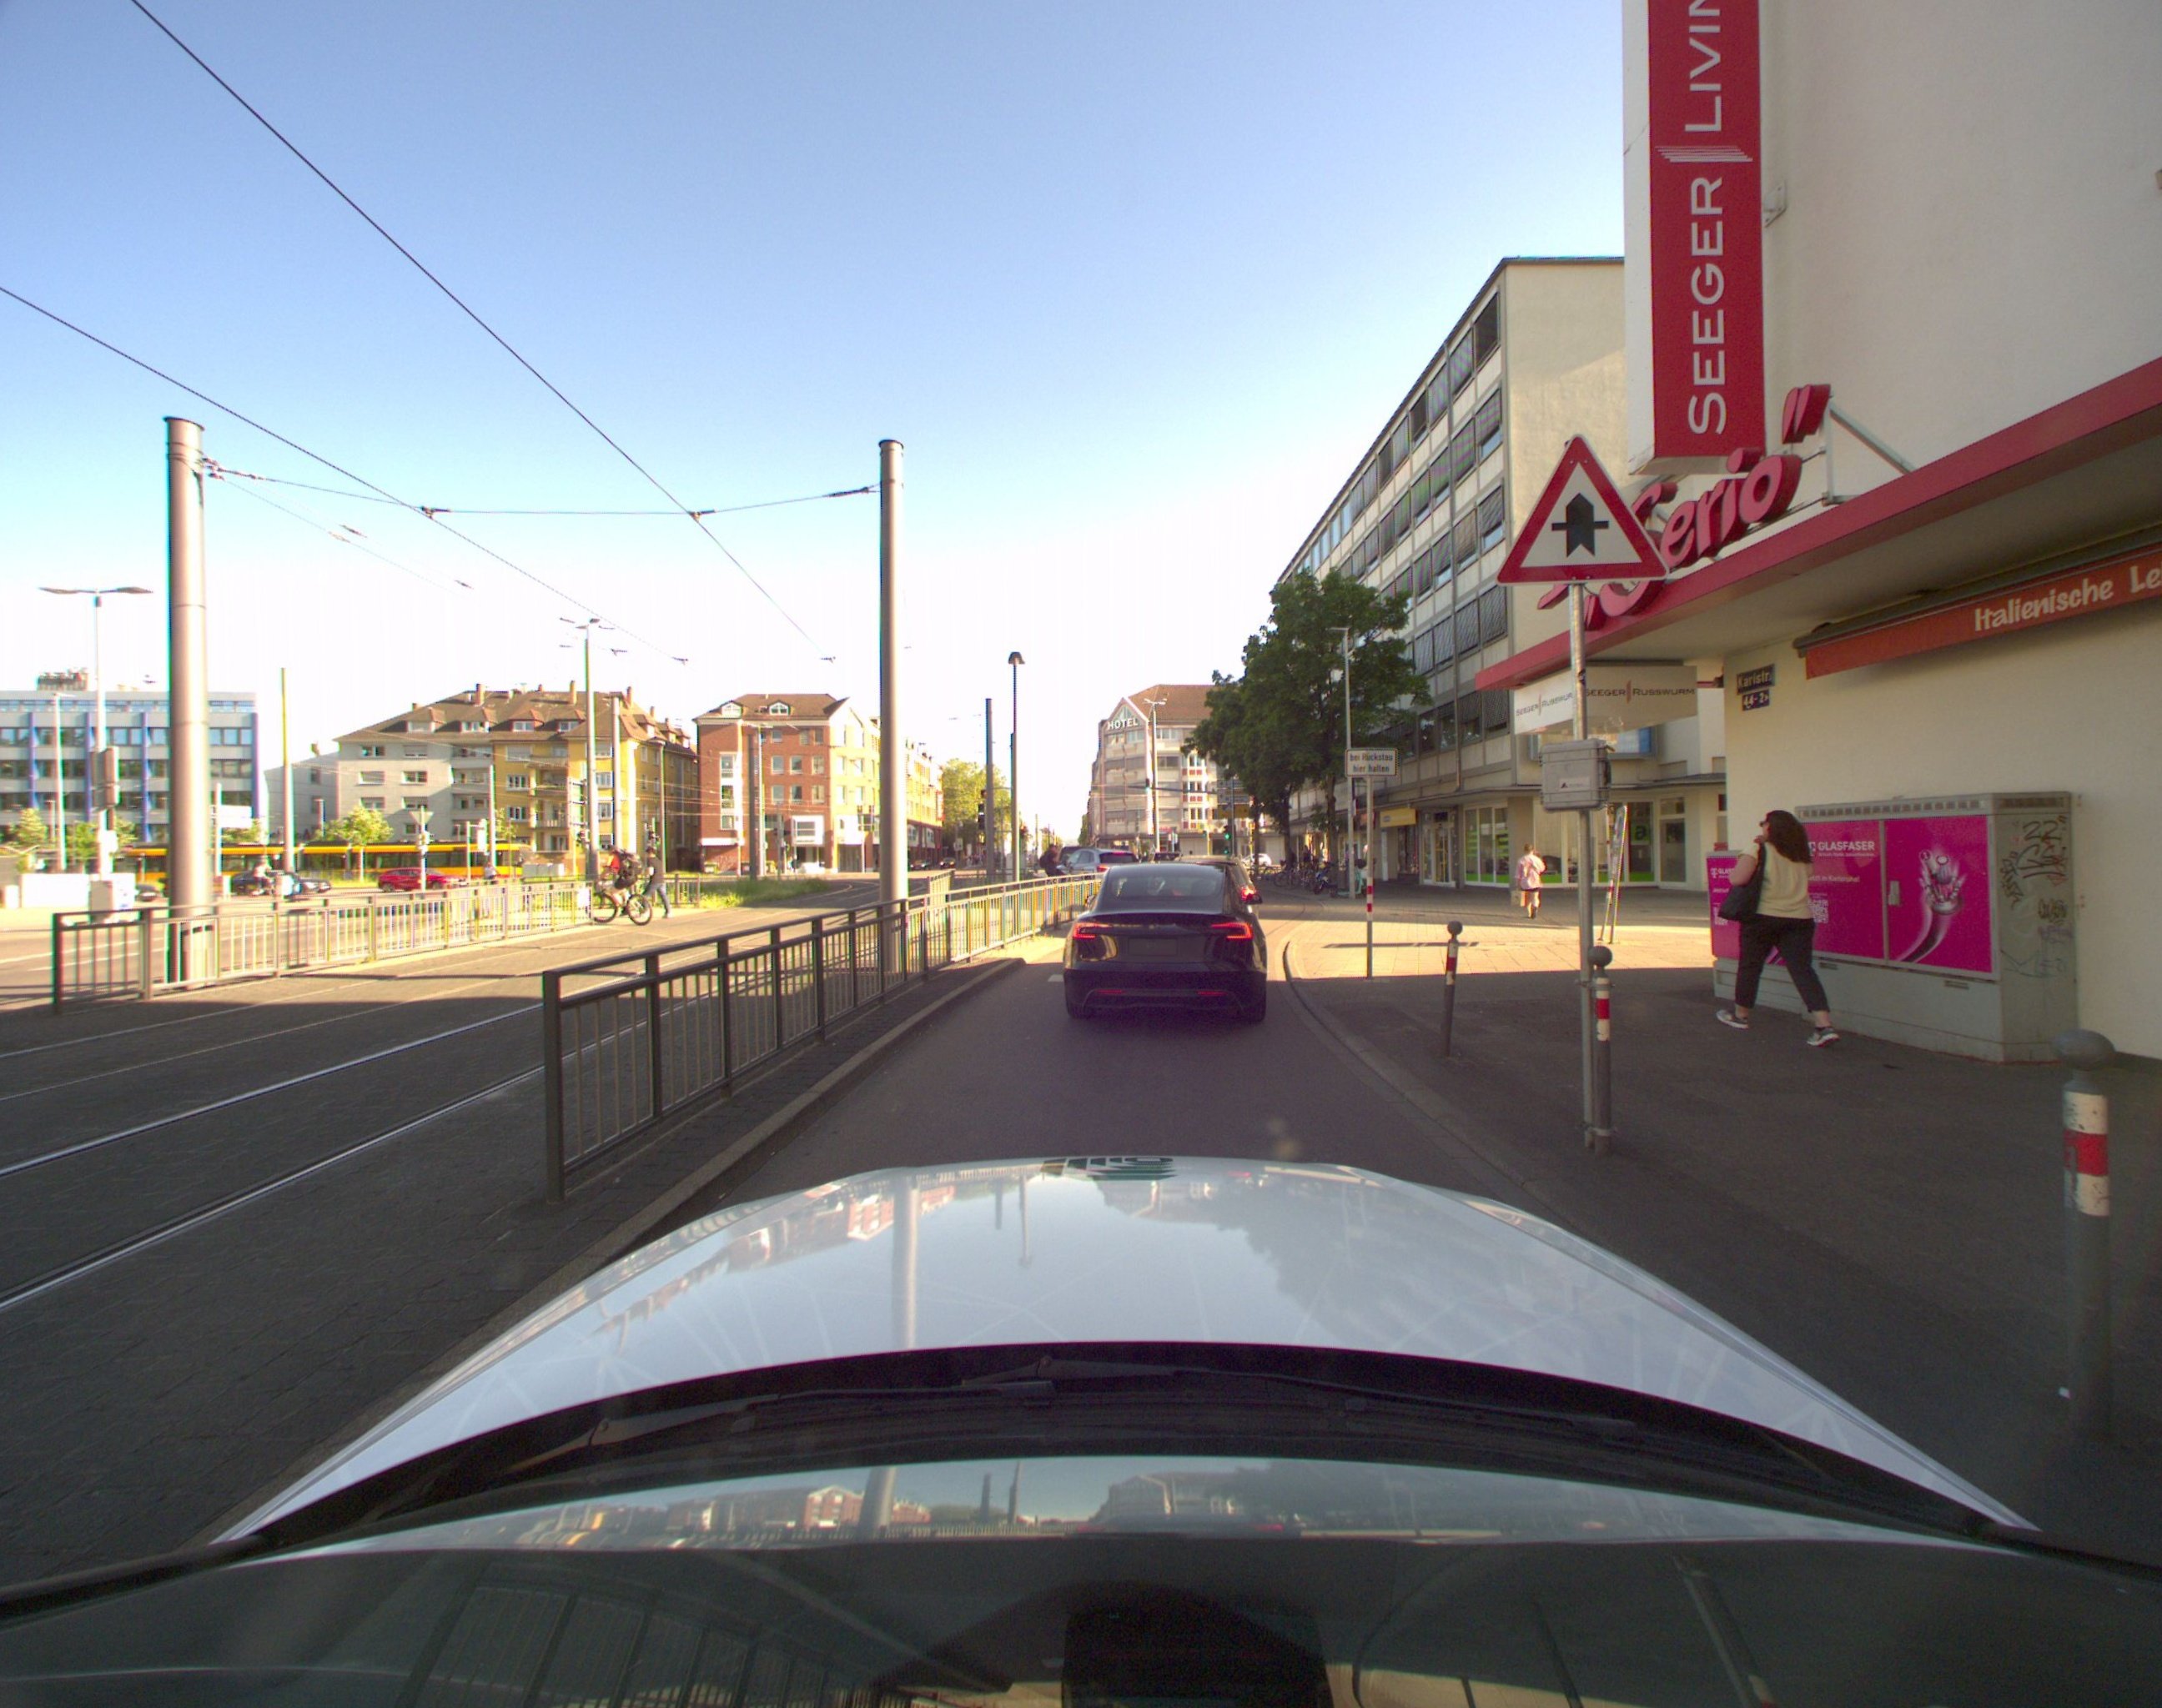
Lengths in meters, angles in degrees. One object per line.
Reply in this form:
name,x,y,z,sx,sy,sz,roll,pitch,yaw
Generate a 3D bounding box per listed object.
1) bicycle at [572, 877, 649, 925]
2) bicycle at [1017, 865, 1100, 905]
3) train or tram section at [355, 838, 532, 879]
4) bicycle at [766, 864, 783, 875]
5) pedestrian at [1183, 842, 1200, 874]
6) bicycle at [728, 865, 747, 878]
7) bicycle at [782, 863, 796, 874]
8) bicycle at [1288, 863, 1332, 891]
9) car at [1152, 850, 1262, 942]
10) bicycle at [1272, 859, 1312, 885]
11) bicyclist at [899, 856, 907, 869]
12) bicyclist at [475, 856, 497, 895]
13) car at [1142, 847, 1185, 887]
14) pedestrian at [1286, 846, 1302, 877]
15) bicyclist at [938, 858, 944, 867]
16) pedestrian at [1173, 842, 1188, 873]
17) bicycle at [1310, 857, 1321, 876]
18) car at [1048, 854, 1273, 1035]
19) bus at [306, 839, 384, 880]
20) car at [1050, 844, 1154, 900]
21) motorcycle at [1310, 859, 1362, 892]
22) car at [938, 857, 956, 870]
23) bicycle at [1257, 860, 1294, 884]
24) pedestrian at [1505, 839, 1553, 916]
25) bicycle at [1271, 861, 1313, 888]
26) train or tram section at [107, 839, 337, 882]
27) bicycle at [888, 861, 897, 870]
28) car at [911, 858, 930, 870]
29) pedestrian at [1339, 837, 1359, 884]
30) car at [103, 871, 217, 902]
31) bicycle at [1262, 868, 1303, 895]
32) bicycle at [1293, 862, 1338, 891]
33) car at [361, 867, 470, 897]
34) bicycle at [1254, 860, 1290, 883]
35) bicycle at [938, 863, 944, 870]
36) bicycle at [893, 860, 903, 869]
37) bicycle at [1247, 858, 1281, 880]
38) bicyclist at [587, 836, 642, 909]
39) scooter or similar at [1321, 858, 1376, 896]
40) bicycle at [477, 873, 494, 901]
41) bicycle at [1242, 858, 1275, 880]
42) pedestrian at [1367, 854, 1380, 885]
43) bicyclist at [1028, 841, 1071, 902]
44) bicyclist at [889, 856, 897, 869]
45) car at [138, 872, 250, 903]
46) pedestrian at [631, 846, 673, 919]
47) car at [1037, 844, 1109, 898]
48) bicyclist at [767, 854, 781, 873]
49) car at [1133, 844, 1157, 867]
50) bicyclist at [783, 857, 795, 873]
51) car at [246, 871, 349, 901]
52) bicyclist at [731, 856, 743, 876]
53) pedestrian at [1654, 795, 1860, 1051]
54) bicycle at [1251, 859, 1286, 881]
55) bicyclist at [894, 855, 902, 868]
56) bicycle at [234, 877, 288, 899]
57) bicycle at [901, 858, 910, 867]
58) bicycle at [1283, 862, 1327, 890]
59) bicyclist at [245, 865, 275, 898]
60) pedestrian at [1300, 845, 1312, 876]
bicycle,-9.996,0.992,17.303,1.585,0.994,0.405,-1,-1,14
bicycle,-0.597,0.838,22.582,2.346,1.053,0.624,0,-1,-36
train or tram section,-50.336,0.352,64.585,11.217,3.131,2.799,0,-1,-7
bicycle,-25.803,1.296,68.565,0.522,0.972,2.247,0,-1,2
pedestrian,6.937,0.239,51.226,0.917,2.014,0.973,0,-1,1
bicycle,-25.994,1.329,61.663,0.445,0.972,2.247,0,-1,2
bicycle,-26.845,1.359,74.936,0.402,0.981,1.699,-1,-1,10
bicycle,8.818,0.887,31.366,1.649,1.061,0.349,0,-1,-9
car,2.307,0.668,15.043,1.741,1.454,4.009,-1,0,8
bicycle,9.119,0.784,35.262,1.643,1.099,0.350,0,-1,3
bicyclist,-22.562,1.061,103.317,0.780,1.563,0.747,-1,0,3
bicyclist,-27.066,0.975,37.047,0.761,1.759,0.745,0,-1,-32
car,3.809,0.606,38.223,1.593,1.778,3.979,0,-1,-1
pedestrian,11.684,0.412,44.650,0.697,1.662,0.777,0,-1,1
bicyclist,-23.149,1.384,135.033,0.780,1.563,0.747,0,-1,3
pedestrian,6.648,0.234,54.398,0.917,2.014,0.973,0,-1,1
bicycle,12.816,0.688,44.535,0.330,1.034,1.258,0,-1,6
car,0.876,0.749,8.633,1.820,1.455,4.007,0,-1,7
bus,-57.633,0.401,63.831,3.511,3.131,2.766,0,-1,-5
car,0.589,0.555,26.674,1.891,1.662,4.126,0,-1,-23
motorcycle,9.146,0.767,29.235,1.701,1.173,0.541,0,-1,0
car,-17.526,1.241,106.722,1.692,1.731,3.706,0,-1,0
bicycle,9.141,0.835,38.216,1.643,1.099,0.350,0,-1,3
pedestrian,10.082,0.519,18.348,0.881,1.667,0.813,-1,-1,25
bicycle,8.618,0.845,33.324,1.649,1.099,0.349,0,-1,-9
train or tram section,-66.146,0.459,62.984,13.654,3.131,2.728,0,-1,-6
bicycle,-22.771,1.340,98.402,0.535,1.088,2.226,0,-1,2
car,-20.368,1.271,103.469,1.706,1.527,4.032,0,-1,-3
pedestrian,11.588,0.289,35.238,0.659,2.014,0.580,0,-1,4
car,-48.773,1.713,43.199,3.850,1.526,1.641,0,-1,-8
bicycle,8.458,1.164,34.241,1.649,1.099,0.349,0,-1,-9
bicycle,8.896,0.858,30.942,1.649,1.099,0.349,0,-1,-9
car,-39.455,1.655,48.378,4.585,1.700,1.993,0,-1,-10
bicycle,9.206,0.840,39.242,1.643,1.099,0.350,0,-1,3
bicycle,-23.175,2.033,134.819,0.527,1.088,2.227,0,-1,4
bicycle,-22.752,1.352,101.156,0.527,1.089,2.285,3,-2,4
bicycle,9.264,0.759,41.302,1.643,1.099,0.350,-1,0,3
bicyclist,-9.907,0.400,17.284,1.032,1.521,0.393,-1,-1,15
scooter or similar,8.899,0.762,27.103,1.625,1.215,0.649,-1,-1,32
bicycle,-27.006,1.484,36.950,0.487,1.222,1.836,0,-1,-32
bicycle,9.246,0.789,42.397,1.643,1.099,0.350,0,-1,3
pedestrian,12.505,0.660,34.847,0.388,1.343,0.513,0,-1,4
bicyclist,-0.867,0.478,22.376,0.763,1.628,0.967,0,-1,-37
bicyclist,-22.780,1.079,98.844,0.780,1.563,0.747,0,-1,4
car,-50.622,1.880,46.565,3.952,1.685,1.903,0,-1,-11
pedestrian,-10.118,0.667,19.216,0.589,1.681,0.774,0,-1,-2
car,-0.398,0.667,32.766,1.997,2.014,3.980,-1,0,-15
bicyclist,-25.814,0.799,68.540,0.895,1.503,0.696,0,-1,1
car,5.014,0.149,63.846,1.713,1.751,3.755,0,-1,2
bicyclist,-26.871,1.011,74.953,0.699,1.471,0.975,-1,0,9
car,-45.492,1.840,47.383,3.984,1.672,1.772,0,-1,-8
bicyclist,-26.005,0.918,61.612,0.631,1.503,0.696,0,-1,1
pedestrian,5.087,0.479,6.228,0.906,1.752,1.044,-1,0,22
bicycle,9.282,0.796,40.255,1.643,1.099,0.350,0,-1,3
bicyclist,-22.748,0.959,101.218,0.780,1.563,0.747,-1,0,3
bicycle,-45.603,1.891,45.297,2.188,1.214,0.544,0,-1,-11
bicycle,-22.433,1.050,103.998,0.527,1.088,2.286,-1,-1,4
bicycle,8.732,0.858,31.792,1.649,1.099,0.349,0,-1,-9
bicyclist,-45.650,1.498,45.289,0.901,1.808,0.788,0,-1,-11
pedestrian,12.412,0.339,44.875,0.524,1.710,0.403,0,-1,-2
